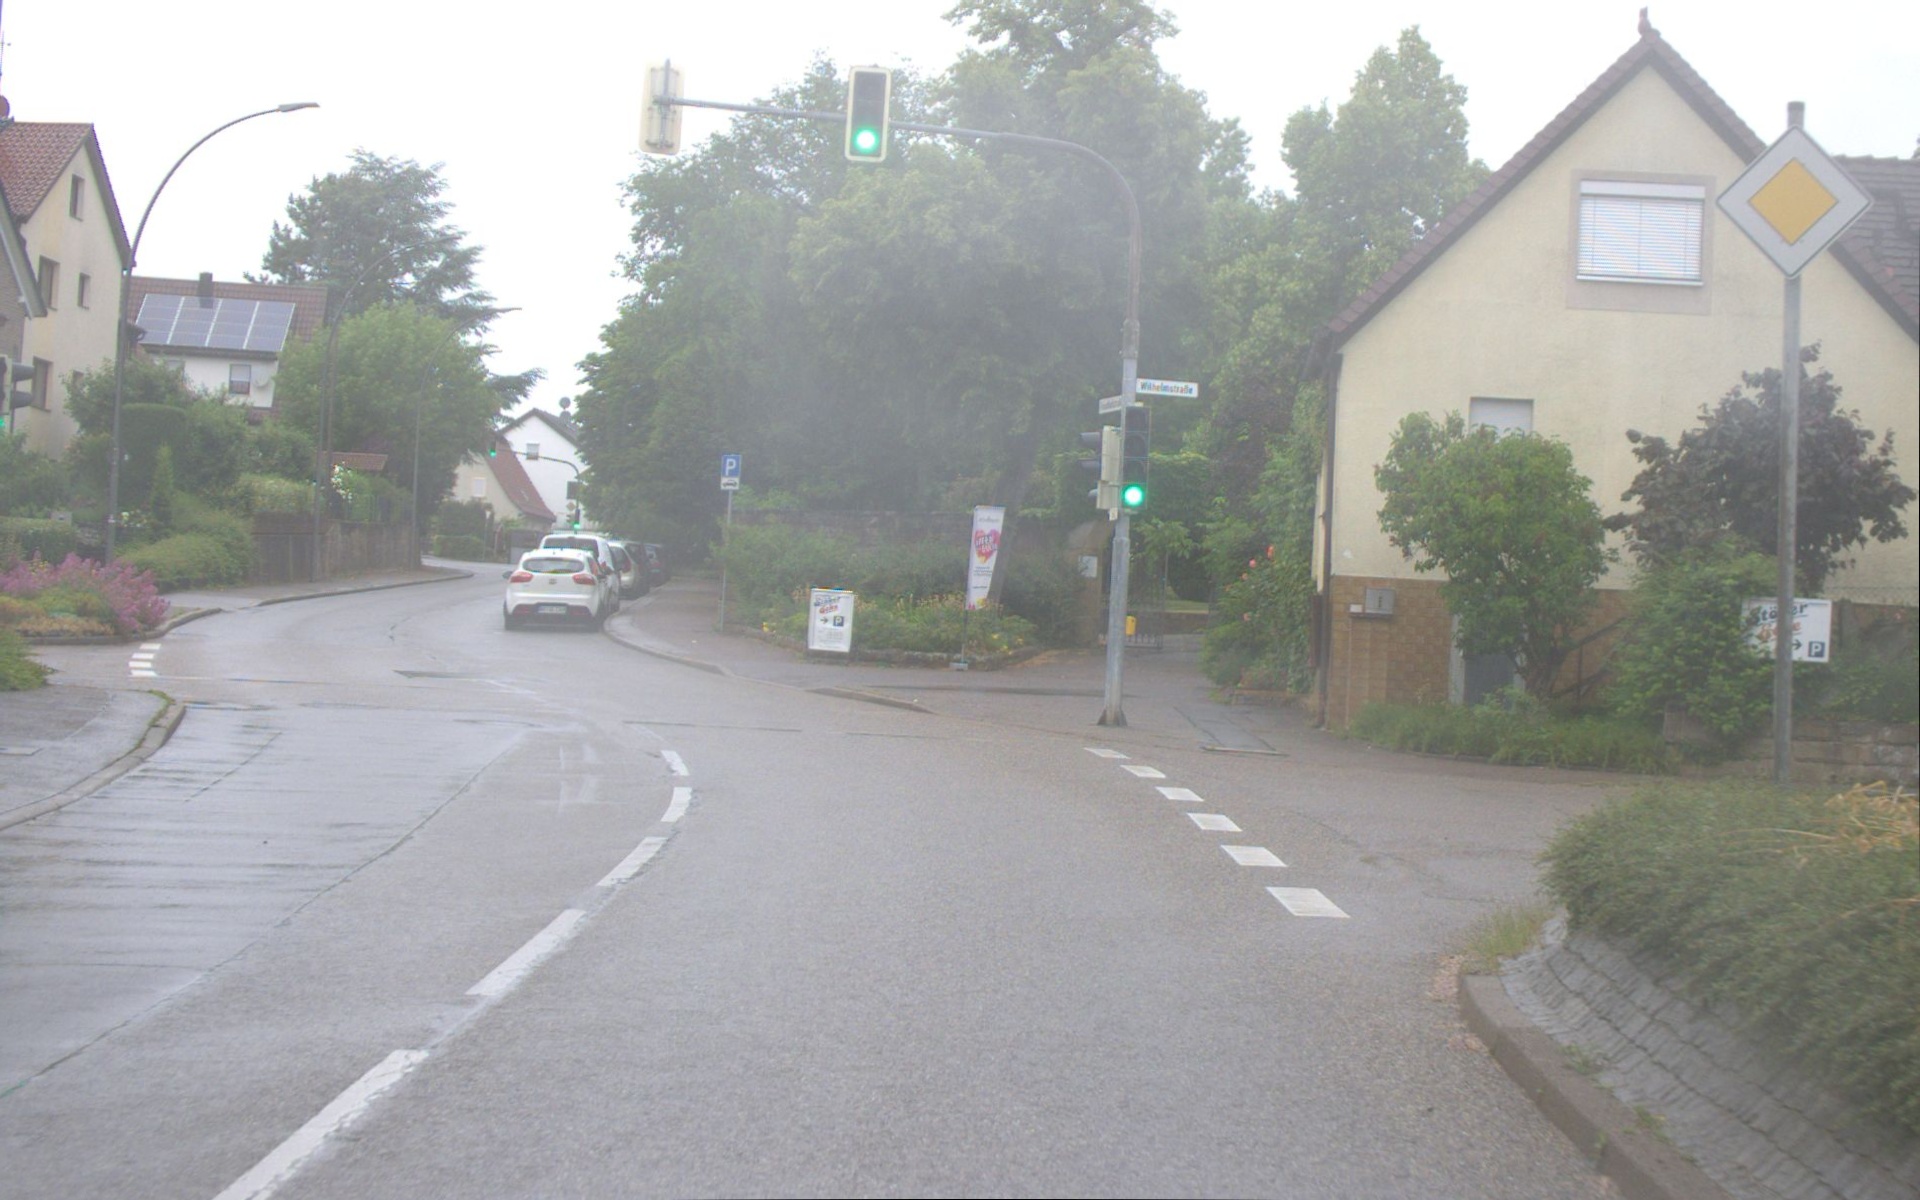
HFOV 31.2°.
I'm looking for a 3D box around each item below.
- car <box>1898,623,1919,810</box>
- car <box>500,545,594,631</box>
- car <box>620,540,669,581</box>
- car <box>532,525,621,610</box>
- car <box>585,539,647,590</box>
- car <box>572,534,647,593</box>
[{"bbox_3d":[10.272,1.115,29.427,4.134,1.580,1.863,3,-1,12],"label":"car"},{"bbox_3d":[-7.746,-0.247,64.694,1.611,1.475,4.039,3,1,-6],"label":"car"},{"bbox_3d":[-11.364,-1.417,123.537,1.651,1.367,4.182,3,1,-6],"label":"car"},{"bbox_3d":[-8.411,-0.727,75.556,1.637,1.735,4.136,3,0,-3],"label":"car"},{"bbox_3d":[-10.353,-1.059,103.392,1.764,1.442,4.697,3,0,-6],"label":"car"},{"bbox_3d":[-9.886,-1.024,97.197,1.814,1.568,3.880,3,0,-2],"label":"car"}]
